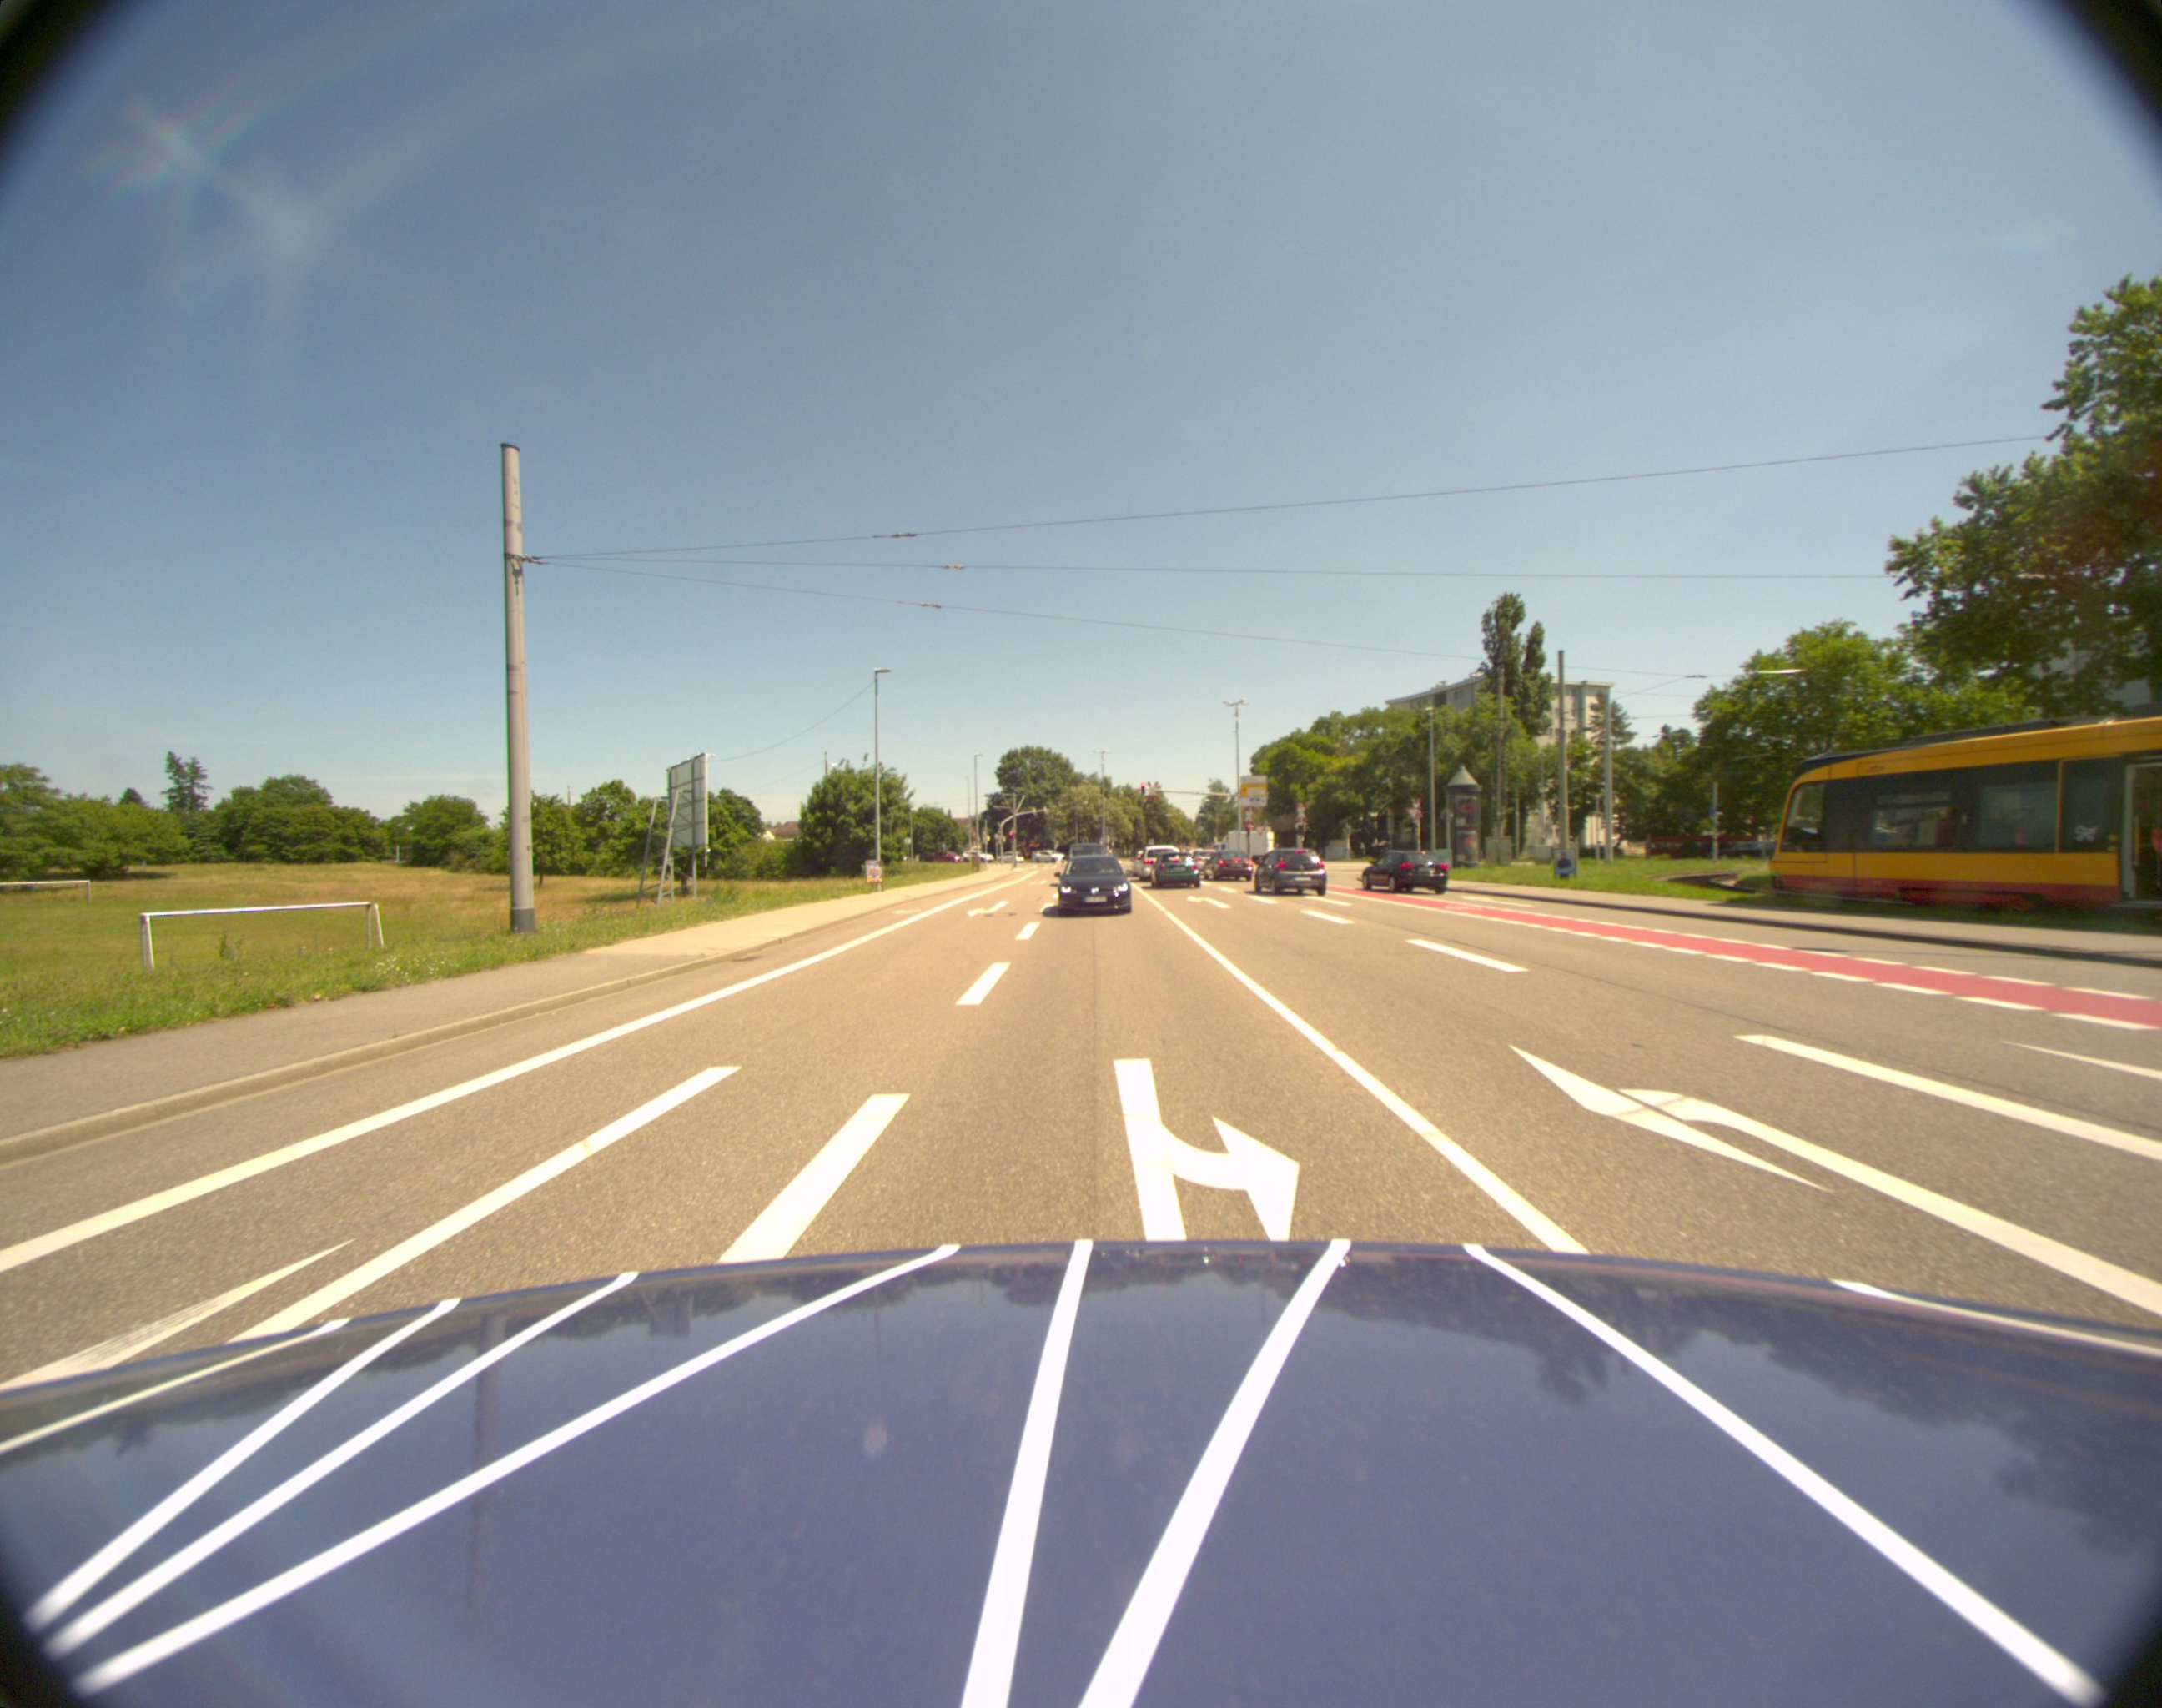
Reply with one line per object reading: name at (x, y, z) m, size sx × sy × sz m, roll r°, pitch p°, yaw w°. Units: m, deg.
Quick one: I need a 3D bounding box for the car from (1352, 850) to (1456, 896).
car at (11.154, 0.610, 26.591) m, size 1.748 × 1.397 × 4.440 m, roll 2°, pitch 0°, yaw 1°

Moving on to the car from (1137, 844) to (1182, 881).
car at (3.856, 0.385, 38.043) m, size 1.816 × 1.713 × 4.831 m, roll -2°, pitch 0°, yaw 1°

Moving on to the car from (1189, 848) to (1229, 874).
car at (7.610, 0.370, 45.367) m, size 1.795 × 1.447 × 4.412 m, roll 0°, pitch 1°, yaw 2°

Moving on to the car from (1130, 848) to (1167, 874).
car at (3.943, 0.382, 44.793) m, size 1.772 × 1.429 × 3.960 m, roll -2°, pitch 1°, yaw 0°

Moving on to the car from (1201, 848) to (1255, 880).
car at (6.939, 0.434, 36.340) m, size 1.764 × 1.448 × 4.285 m, roll -1°, pitch 1°, yaw 0°

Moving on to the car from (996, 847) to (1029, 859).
car at (-9.117, -0.126, 101.098) m, size 4.203 × 1.417 × 1.853 m, roll -1°, pitch 0°, yaw 32°

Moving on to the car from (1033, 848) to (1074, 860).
car at (-3.226, 0.019, 87.925) m, size 4.399 × 1.381 × 1.879 m, roll -1°, pitch 0°, yaw 32°

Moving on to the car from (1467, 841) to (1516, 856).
car at (38.598, -0.498, 71.396) m, size 3.989 × 1.279 × 1.891 m, roll -1°, pitch -2°, yaw 30°

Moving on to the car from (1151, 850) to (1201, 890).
car at (3.749, 0.589, 30.515) m, size 1.727 × 1.454 × 3.991 m, roll -2°, pitch 0°, yaw 4°

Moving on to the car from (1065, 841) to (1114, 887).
car at (0.318, 0.398, 35.760) m, size 1.942 × 1.920 × 4.844 m, roll -3°, pitch 1°, yaw -3°

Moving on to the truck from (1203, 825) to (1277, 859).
truck at (17.704, -1.245, 84.882) m, size 7.690 × 3.511 × 2.594 m, roll -1°, pitch -1°, yaw 32°

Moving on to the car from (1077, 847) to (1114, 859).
car at (1.793, -0.160, 93.896) m, size 4.203 × 1.417 × 1.853 m, roll -1°, pitch 0°, yaw 32°

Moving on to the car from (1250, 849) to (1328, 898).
car at (6.663, 0.570, 24.640) m, size 1.626 × 1.447 × 3.501 m, roll 0°, pitch 1°, yaw 1°

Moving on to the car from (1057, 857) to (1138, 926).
car at (0.396, 0.828, 18.668) m, size 1.708 × 1.396 × 4.053 m, roll -3°, pitch 1°, yaw 1°

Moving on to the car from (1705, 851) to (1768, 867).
car at (53.472, 0.411, 62.055) m, size 3.635 × 1.279 × 1.609 m, roll -1°, pitch -1°, yaw 30°

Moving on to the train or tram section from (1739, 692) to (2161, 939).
train or tram section at (17.840, -0.575, 11.865) m, size 3.025 × 3.737 × 12.987 m, roll 0°, pitch 0°, yaw -5°

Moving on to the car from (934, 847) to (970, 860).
car at (-16.524, -0.046, 97.186) m, size 4.399 × 1.567 × 1.879 m, roll -1°, pitch 0°, yaw 32°

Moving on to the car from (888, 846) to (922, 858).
car at (-23.438, -0.283, 101.127) m, size 4.399 × 1.567 × 1.879 m, roll -1°, pitch 0°, yaw 32°

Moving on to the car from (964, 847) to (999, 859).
car at (-12.973, -0.098, 98.979) m, size 4.399 × 1.567 × 1.879 m, roll -1°, pitch 0°, yaw 32°

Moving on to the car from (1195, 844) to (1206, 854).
car at (22.426, -0.926, 142.458) m, size 1.809 × 1.707 × 4.346 m, roll 0°, pitch 0°, yaw 7°

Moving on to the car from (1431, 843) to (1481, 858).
car at (34.332, -0.336, 69.501) m, size 3.989 × 1.279 × 1.751 m, roll -1°, pitch -2°, yaw 30°
